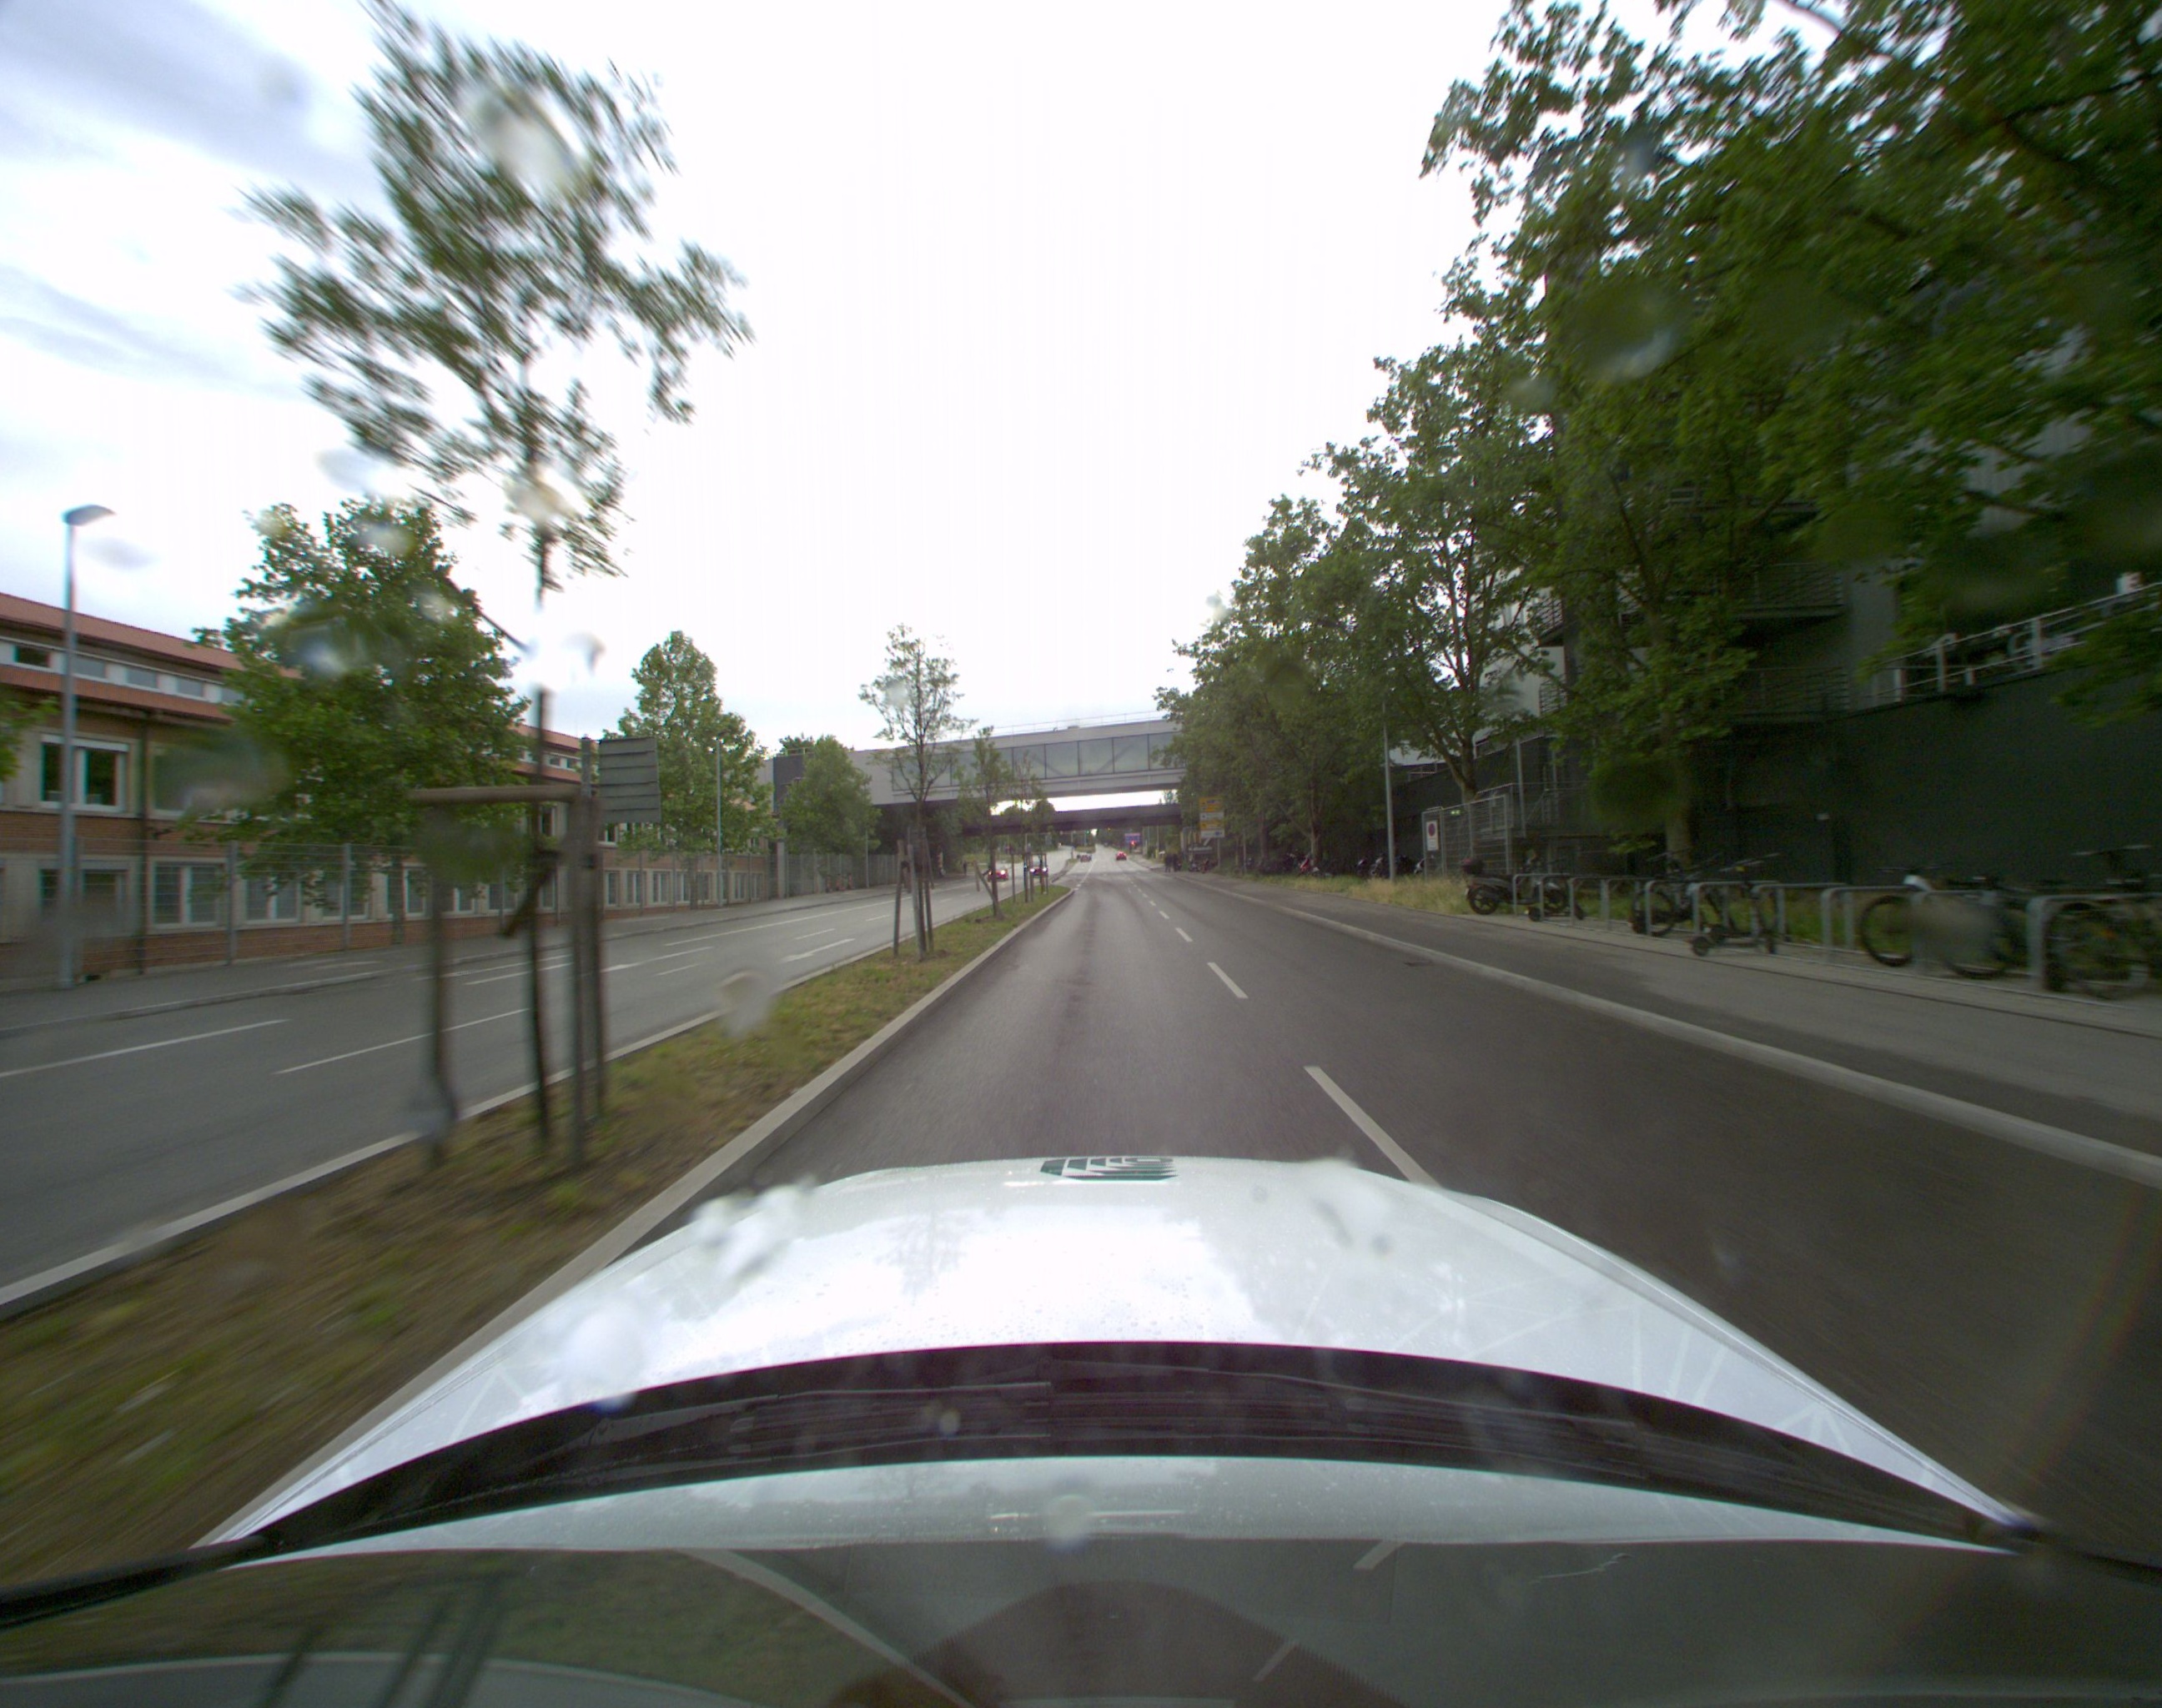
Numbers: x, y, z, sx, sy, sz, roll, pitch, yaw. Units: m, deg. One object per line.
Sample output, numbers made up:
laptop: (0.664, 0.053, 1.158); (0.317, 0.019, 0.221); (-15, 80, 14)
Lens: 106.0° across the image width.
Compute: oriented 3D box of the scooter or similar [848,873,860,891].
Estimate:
scooter or similar: (-16.289, 1.977, 58.419); (0.310, 1.218, 1.310); (-3, 0, 6)

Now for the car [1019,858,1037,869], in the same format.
car: (-7.310, 1.358, 112.163); (2.057, 1.361, 4.756); (-3, 0, 0)

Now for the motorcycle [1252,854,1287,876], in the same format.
motorcycle: (10.696, 0.620, 46.268); (1.851, 1.191, 0.519); (-2, 0, -14)

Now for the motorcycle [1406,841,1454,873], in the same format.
motorcycle: (12.746, 0.128, 29.816); (0.477, 1.145, 1.885); (0, -1, -18)

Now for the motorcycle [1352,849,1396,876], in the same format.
motorcycle: (14.141, 0.413, 39.347); (1.904, 1.258, 0.492); (-1, -1, 7)

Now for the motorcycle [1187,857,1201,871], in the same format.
motorcycle: (9.831, 0.901, 71.168); (0.470, 1.213, 1.935); (-3, -1, -14)

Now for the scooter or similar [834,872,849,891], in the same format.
scooter or similar: (-16.419, 1.860, 55.866); (0.309, 1.218, 1.312); (-3, 0, 13)

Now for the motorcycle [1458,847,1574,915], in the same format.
motorcycle: (8.898, 0.553, 16.716); (1.994, 1.273, 0.443); (-3, -1, 13)

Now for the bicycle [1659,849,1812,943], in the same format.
bicycle: (8.998, 0.563, 11.213); (1.785, 1.167, 0.447); (-3, -1, -5)

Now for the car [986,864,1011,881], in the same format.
car: (-7.512, 1.659, 74.429); (1.710, 1.437, 3.772); (-4, -1, 0)

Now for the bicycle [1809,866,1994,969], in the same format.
bicycle: (8.894, 0.678, 8.849); (1.546, 1.005, 0.393); (-3, -1, 1)

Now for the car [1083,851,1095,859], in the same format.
car: (1.565, 0.295, 166.494); (2.156, 1.583, 4.669); (0, -1, 4)

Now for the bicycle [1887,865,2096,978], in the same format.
bicycle: (8.949, 0.648, 8.028); (1.546, 1.005, 0.393); (-3, -1, 1)

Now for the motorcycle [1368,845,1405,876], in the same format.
motorcycle: (13.953, 0.293, 37.222); (1.495, 1.365, 0.505); (0, -1, -4)

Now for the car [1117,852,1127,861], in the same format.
car: (7.668, 0.443, 152.273); (1.739, 1.470, 4.167); (-2, 1, 1)

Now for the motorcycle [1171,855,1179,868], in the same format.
motorcycle: (8.453, 0.657, 73.168); (0.468, 1.136, 1.819); (-3, 0, 1)

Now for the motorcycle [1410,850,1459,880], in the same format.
motorcycle: (13.554, 0.416, 31.279); (1.627, 1.145, 0.561); (-1, -1, 12)

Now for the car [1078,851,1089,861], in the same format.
car: (0.483, 0.428, 153.240); (2.070, 1.718, 4.197); (0, -1, 0)

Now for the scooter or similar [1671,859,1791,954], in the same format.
scooter or similar: (7.975, 0.635, 10.007); (1.210, 1.091, 0.312); (-3, -1, -3)

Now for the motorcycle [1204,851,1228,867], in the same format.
motorcycle: (11.424, 0.445, 69.094); (1.919, 1.297, 0.551); (-3, -1, 36)

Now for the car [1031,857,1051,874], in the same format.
car: (-3.889, 1.118, 79.402); (1.579, 1.605, 3.856); (-4, -1, 1)

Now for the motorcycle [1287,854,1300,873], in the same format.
motorcycle: (14.886, 0.672, 56.970); (0.345, 1.279, 2.084); (-3, 0, 29)

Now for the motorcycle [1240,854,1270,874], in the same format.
motorcycle: (11.804, 0.675, 55.285); (1.851, 1.253, 0.627); (-2, 0, -14)

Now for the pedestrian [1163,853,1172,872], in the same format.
pedestrian: (7.746, 0.749, 73.115); (0.607, 1.721, 0.895); (-3, -1, 11)

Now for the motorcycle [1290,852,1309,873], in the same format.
motorcycle: (13.693, 0.520, 51.094); (0.643, 1.279, 1.991); (-2, -1, 1)

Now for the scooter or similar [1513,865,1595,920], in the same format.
scooter or similar: (8.894, 0.715, 15.305); (1.476, 0.937, 0.364); (-3, -1, -16)

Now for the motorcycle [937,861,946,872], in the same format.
motorcycle: (-15.469, 1.428, 90.647); (0.466, 1.158, 1.935); (-3, 0, 5)

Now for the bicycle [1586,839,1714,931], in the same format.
bicycle: (9.026, 0.477, 12.932); (1.858, 1.348, 0.446); (-3, -1, -11)

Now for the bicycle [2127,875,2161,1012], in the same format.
bicycle: (8.834, 0.638, 6.046); (1.546, 1.005, 0.393); (-3, -1, 1)

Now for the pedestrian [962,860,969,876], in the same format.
pedestrian: (-13.901, 1.676, 98.240); (0.516, 1.816, 0.802); (-2, 0, 11)

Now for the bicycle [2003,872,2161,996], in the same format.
bicycle: (8.919, 0.667, 6.966); (1.546, 0.958, 0.393); (-3, -1, 1)

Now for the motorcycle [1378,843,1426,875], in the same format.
motorcycle: (13.931, 0.238, 35.358); (1.924, 1.365, 0.505); (0, -1, -4)

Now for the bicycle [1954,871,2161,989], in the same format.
bicycle: (8.927, 0.674, 7.382); (1.546, 0.958, 0.393); (-3, -1, 1)

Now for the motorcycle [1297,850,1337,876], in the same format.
motorcycle: (10.478, 0.415, 36.238); (1.643, 1.150, 0.494); (-1, -1, 9)

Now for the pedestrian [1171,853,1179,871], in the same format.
pedestrian: (8.415, 0.714, 72.875); (0.646, 1.596, 0.581); (-3, -1, 13)

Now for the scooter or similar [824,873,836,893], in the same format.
scooter or similar: (-16.459, 1.897, 53.466); (0.310, 1.218, 1.308); (-3, 0, 2)

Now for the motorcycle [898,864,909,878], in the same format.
motorcycle: (-15.975, 1.513, 73.483); (0.467, 1.205, 1.997); (-3, 0, 1)
